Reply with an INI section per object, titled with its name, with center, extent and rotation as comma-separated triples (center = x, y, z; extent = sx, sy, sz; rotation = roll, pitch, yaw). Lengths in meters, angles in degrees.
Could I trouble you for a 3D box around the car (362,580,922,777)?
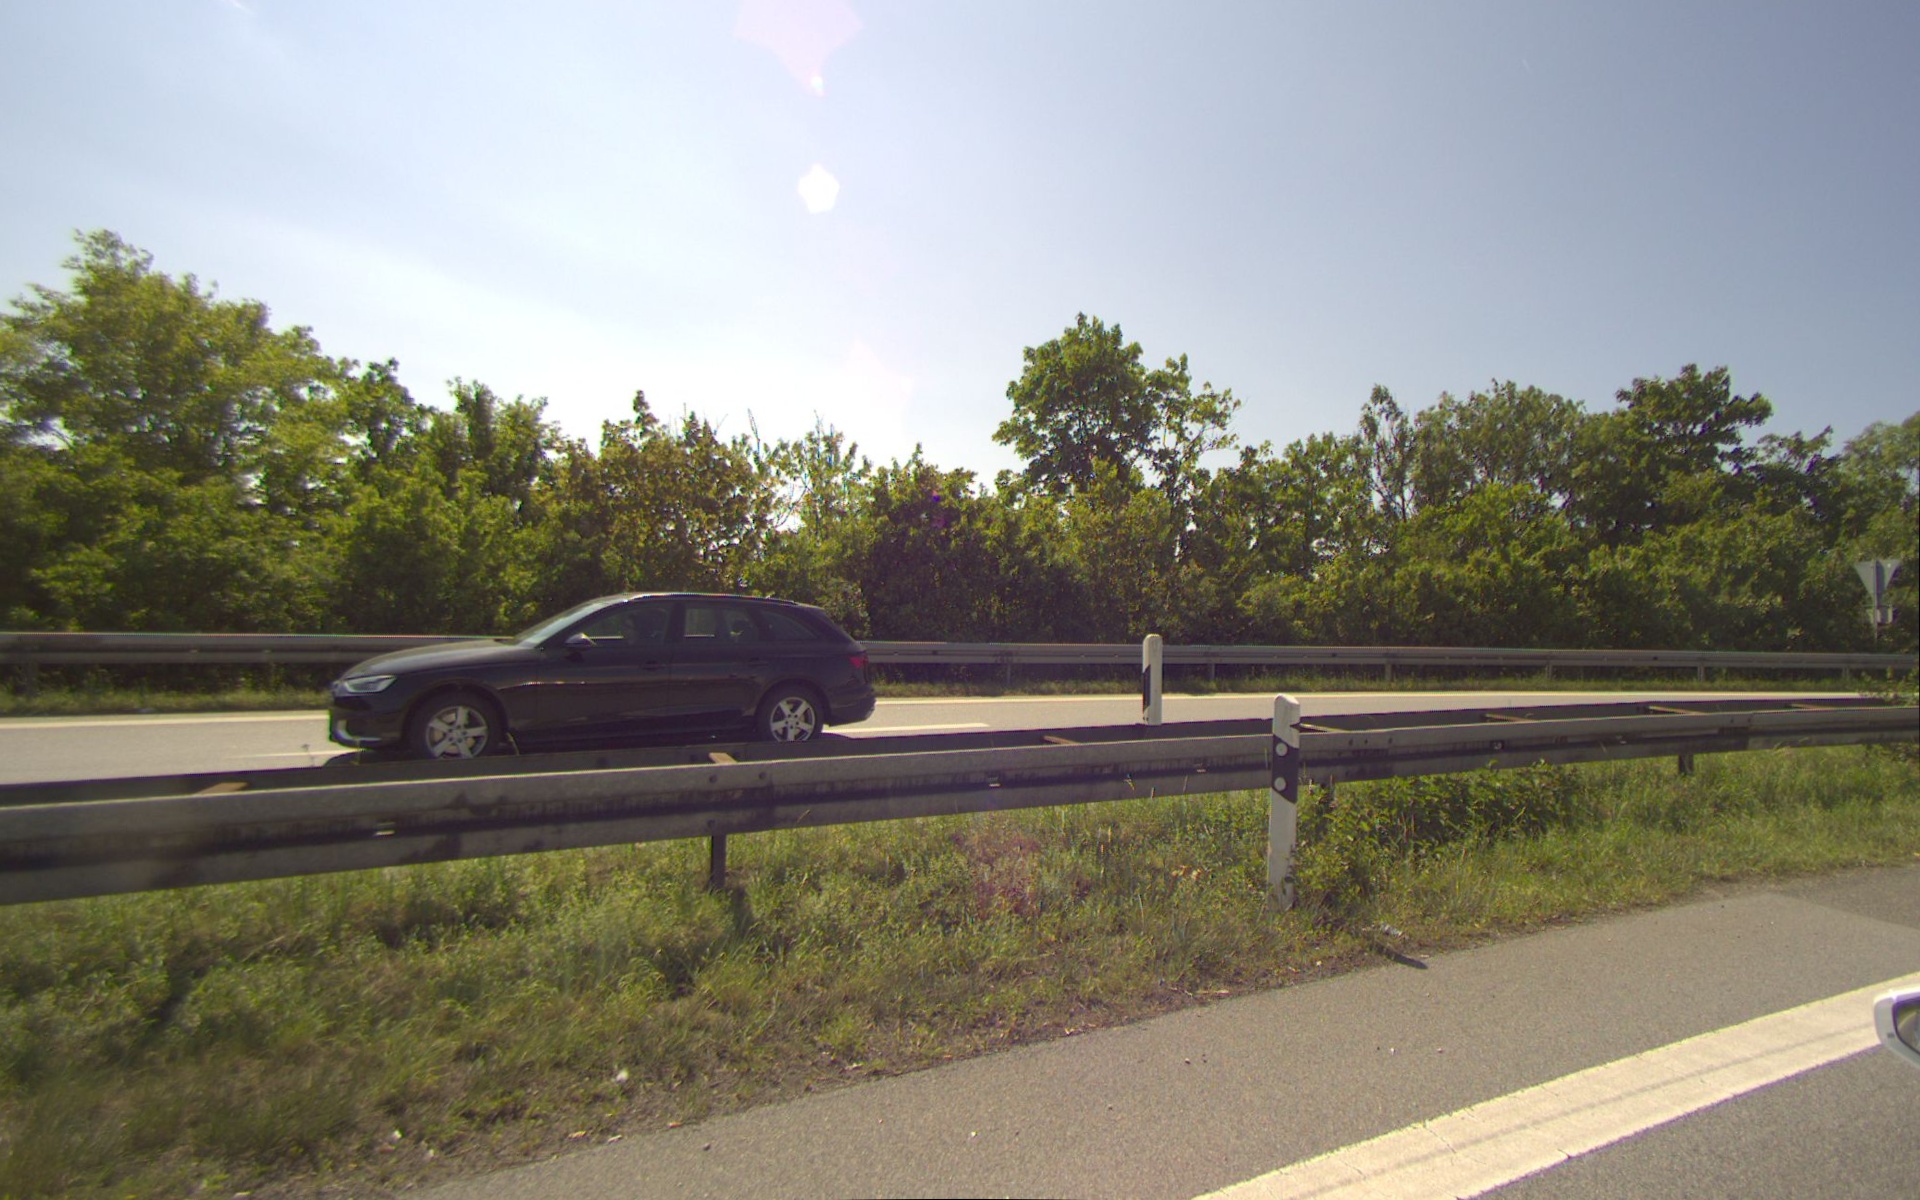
[car]
center = -2.837, 0.629, 9.414
extent = 4.645, 1.467, 1.785
rotation = 2, 0, -29
